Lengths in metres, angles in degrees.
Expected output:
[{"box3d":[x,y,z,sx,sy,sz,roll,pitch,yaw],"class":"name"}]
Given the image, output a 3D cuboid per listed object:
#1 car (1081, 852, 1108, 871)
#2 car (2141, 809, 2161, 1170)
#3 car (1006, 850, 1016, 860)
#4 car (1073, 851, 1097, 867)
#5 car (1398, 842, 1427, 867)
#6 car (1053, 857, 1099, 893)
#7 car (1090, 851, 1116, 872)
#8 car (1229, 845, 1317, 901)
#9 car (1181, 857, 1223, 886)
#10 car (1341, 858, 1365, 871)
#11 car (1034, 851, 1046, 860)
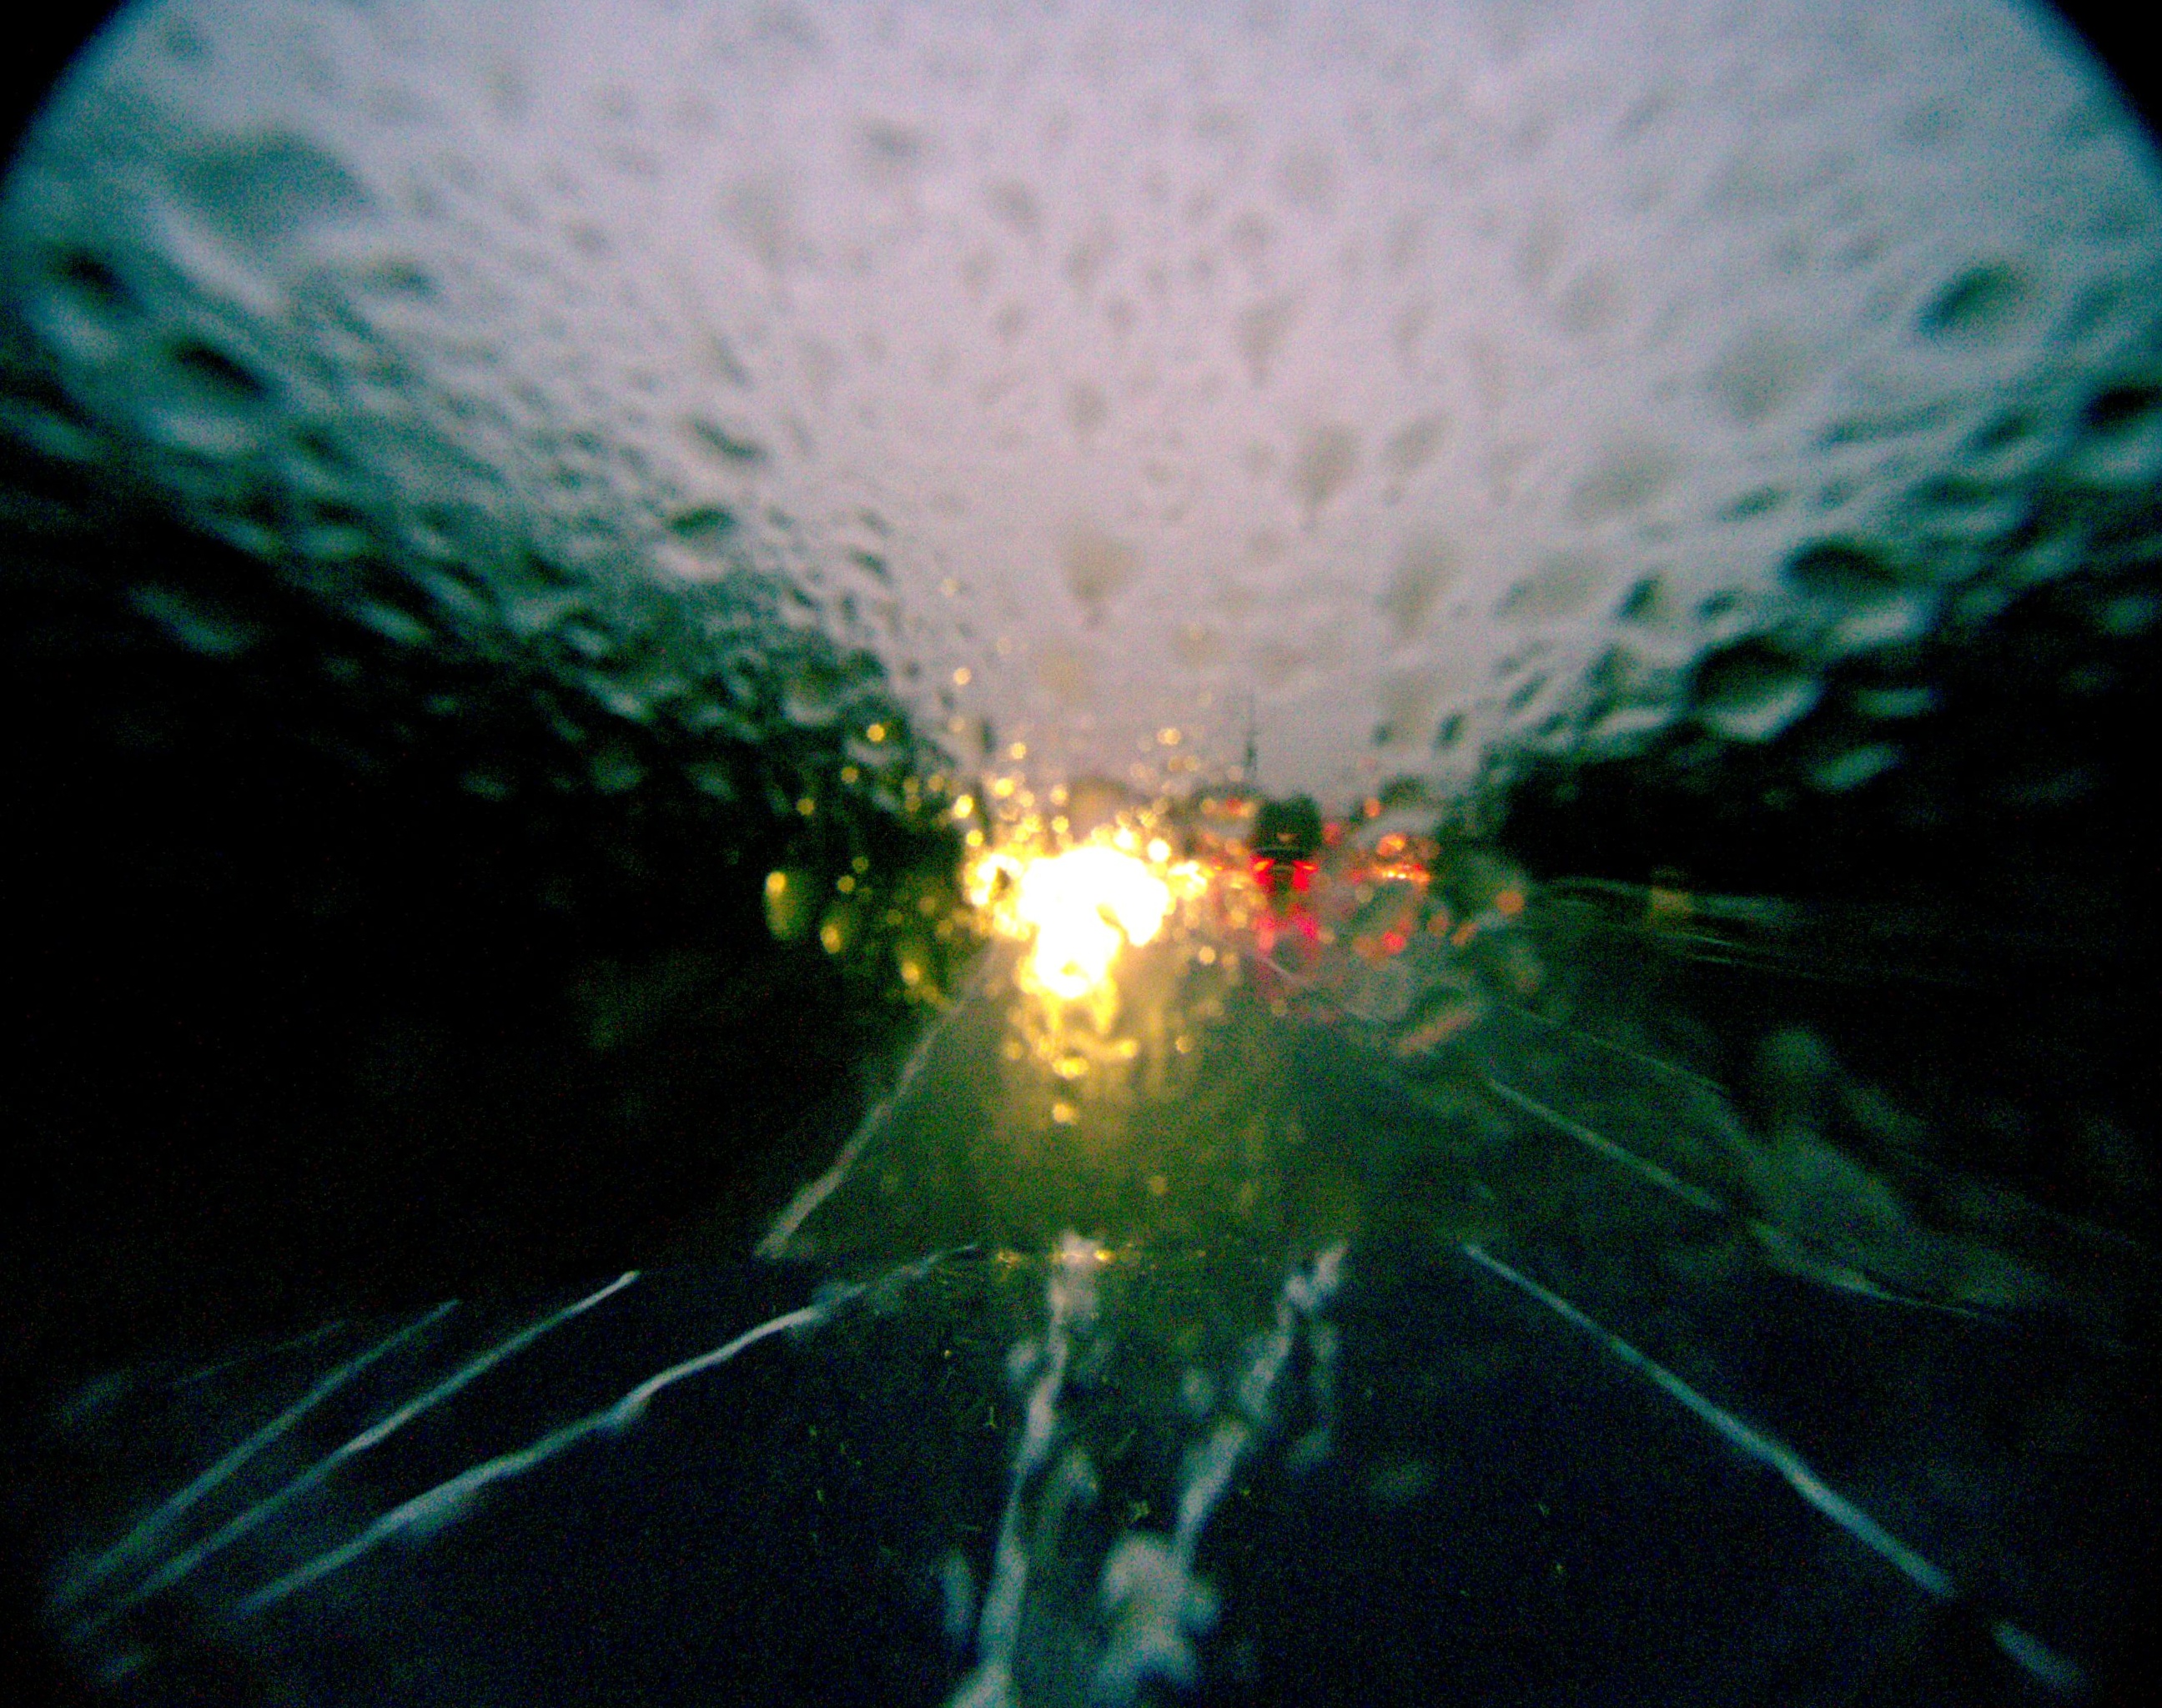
[{"box3d":[1.201,0.688,70.226,2.011,1.547,4.514,-2,1,-5],"class":"car"},{"box3d":[5.742,0.637,1.236,1.864,1.638,4.467,-1,1,2],"class":"car"},{"box3d":[-12.736,0.156,137.930,1.702,1.721,3.997,-2,2,-5],"class":"car"},{"box3d":[0.407,0.488,77.894,1.637,1.413,4.166,-2,1,-10],"class":"car"},{"box3d":[27.947,0.038,64.036,1.839,1.958,4.365,-2,1,28],"class":"car"},{"box3d":[-0.289,0.897,34.133,1.851,1.429,4.243,-1,0,-3],"class":"car"},{"box3d":[1.789,0.570,62.858,1.718,1.617,4.216,-2,1,-4],"class":"car"},{"box3d":[6.234,0.588,25.241,1.907,1.638,4.728,-2,0,3],"class":"car"},{"box3d":[6.648,0.946,42.158,1.828,1.514,4.300,0,-1,2],"class":"car"},{"box3d":[41.989,1.642,117.421,1.955,1.746,4.810,-3,1,1],"class":"car"},{"box3d":[-8.093,0.267,149.142,1.651,1.547,4.375,-1,1,-13],"class":"car"}]
